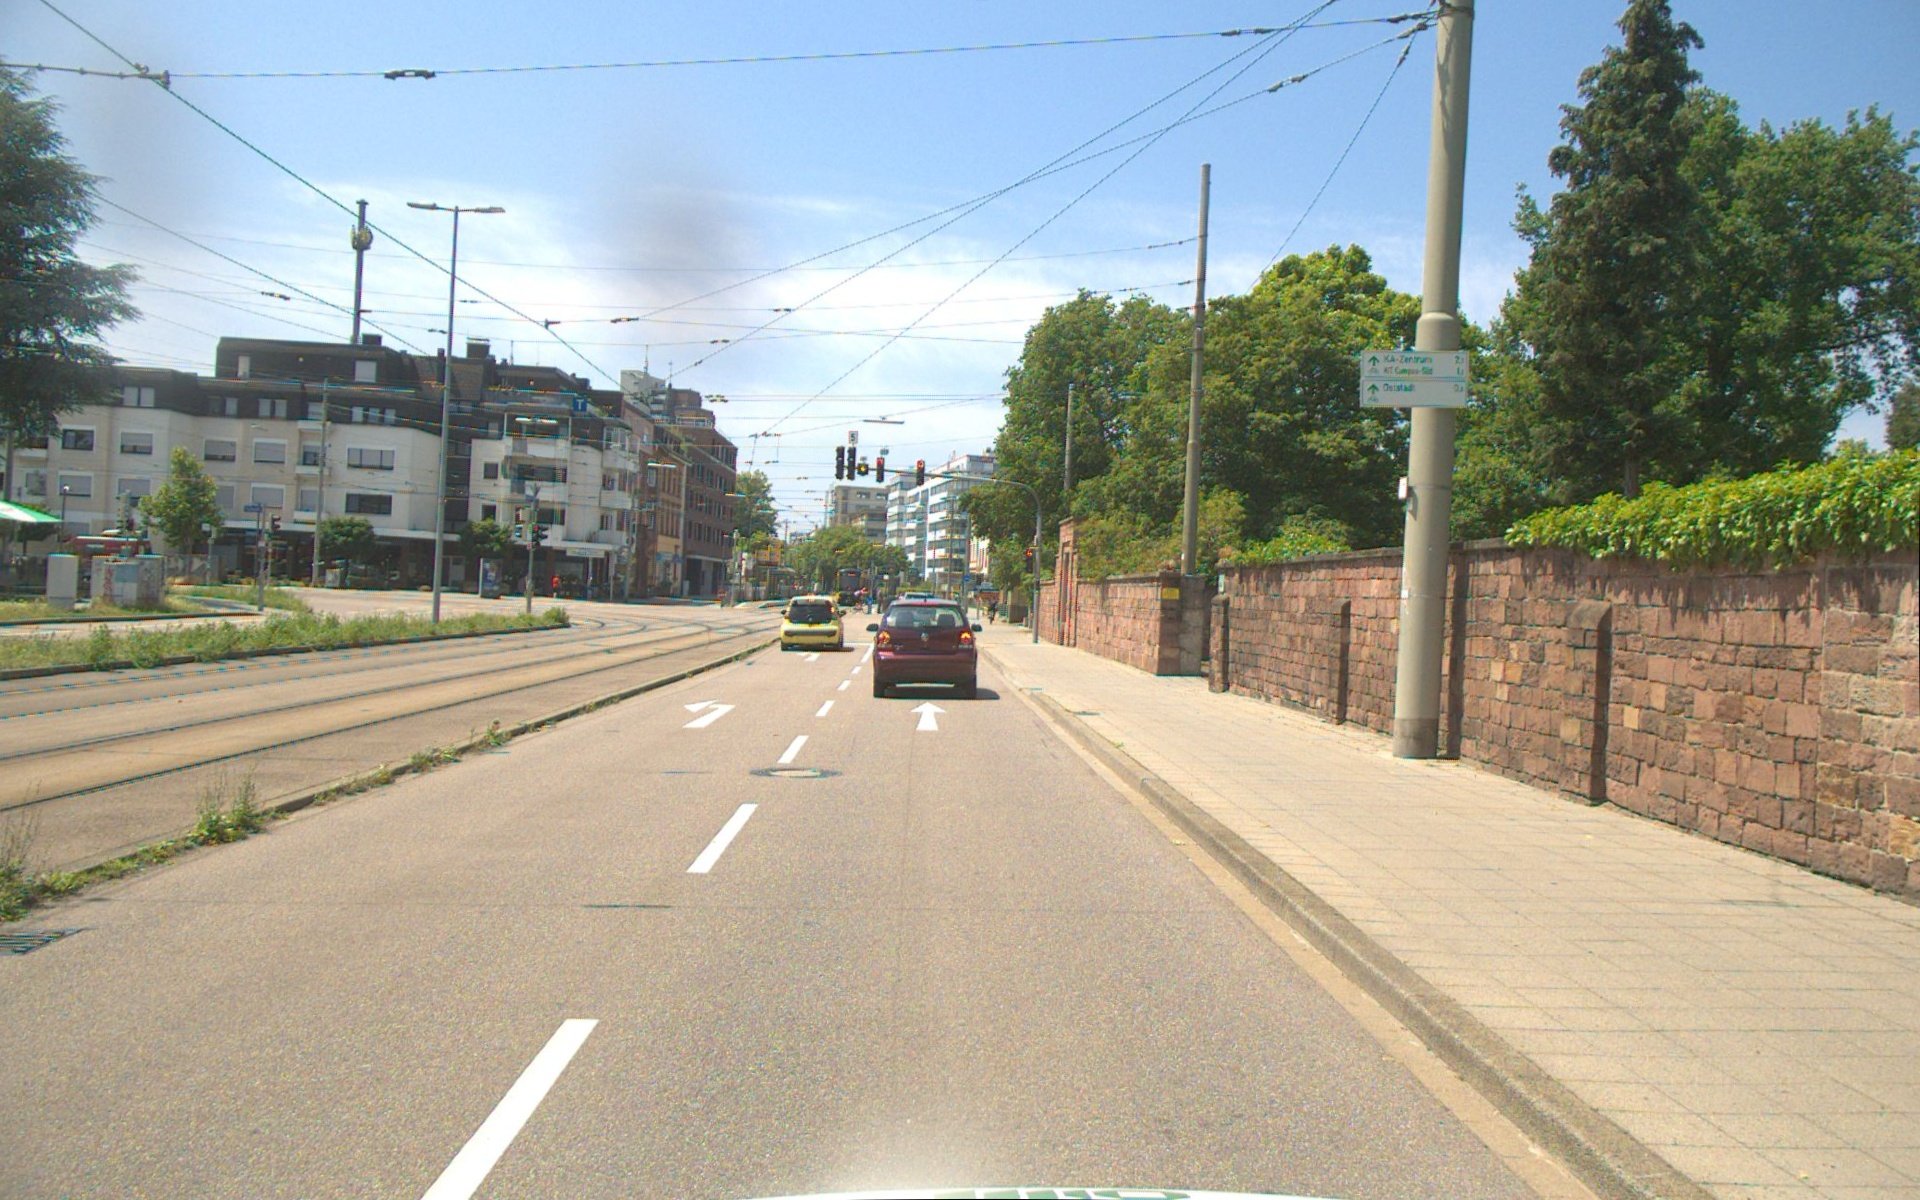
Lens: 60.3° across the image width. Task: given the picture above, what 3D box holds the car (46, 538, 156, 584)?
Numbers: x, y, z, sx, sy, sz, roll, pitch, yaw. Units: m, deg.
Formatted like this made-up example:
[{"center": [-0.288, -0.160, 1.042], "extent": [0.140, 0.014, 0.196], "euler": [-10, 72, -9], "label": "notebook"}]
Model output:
[{"center": [-48.398, -2.207, 93.267], "extent": [4.963, 2.382, 2.243], "euler": [1, -1, -3], "label": "car"}]

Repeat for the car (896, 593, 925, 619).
[{"center": [-2.759, 0.323, 91.680], "extent": [1.541, 1.440, 3.718], "euler": [0, 0, -2], "label": "car"}]

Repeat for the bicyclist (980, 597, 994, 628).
[{"center": [1.601, 0.745, 98.359], "extent": [0.707, 1.850, 0.888], "euler": [1, -1, -1], "label": "bicyclist"}]

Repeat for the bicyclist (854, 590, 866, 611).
[{"center": [-6.679, 0.028, 110.869], "extent": [0.751, 1.430, 0.506], "euler": [1, -1, -5], "label": "bicyclist"}]

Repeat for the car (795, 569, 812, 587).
[{"center": [-18.361, -2.571, 194.255], "extent": [1.700, 2.049, 3.999], "euler": [3, 0, -1], "label": "car"}]

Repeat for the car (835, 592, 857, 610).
[{"center": [-10.826, 0.085, 157.389], "extent": [1.899, 1.670, 3.998], "euler": [1, -1, -2], "label": "car"}]

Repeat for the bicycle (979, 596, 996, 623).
[{"center": [1.628, 0.591, 99.607], "extent": [0.818, 1.552, 3.999], "euler": [1, -1, -1], "label": "bicycle"}]

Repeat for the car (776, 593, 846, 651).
[{"center": [-4.030, 0.576, 45.120], "extent": [1.689, 1.470, 3.291], "euler": [1, 1, -2], "label": "car"}]

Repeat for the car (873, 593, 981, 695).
[{"center": [-0.549, 0.642, 26.283], "extent": [1.577, 1.489, 4.084], "euler": [0, 0, -2], "label": "car"}]

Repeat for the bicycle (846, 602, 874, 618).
[{"center": [-6.686, 0.640, 110.814], "extent": [1.829, 1.025, 0.578], "euler": [1, -1, -6], "label": "bicycle"}]
